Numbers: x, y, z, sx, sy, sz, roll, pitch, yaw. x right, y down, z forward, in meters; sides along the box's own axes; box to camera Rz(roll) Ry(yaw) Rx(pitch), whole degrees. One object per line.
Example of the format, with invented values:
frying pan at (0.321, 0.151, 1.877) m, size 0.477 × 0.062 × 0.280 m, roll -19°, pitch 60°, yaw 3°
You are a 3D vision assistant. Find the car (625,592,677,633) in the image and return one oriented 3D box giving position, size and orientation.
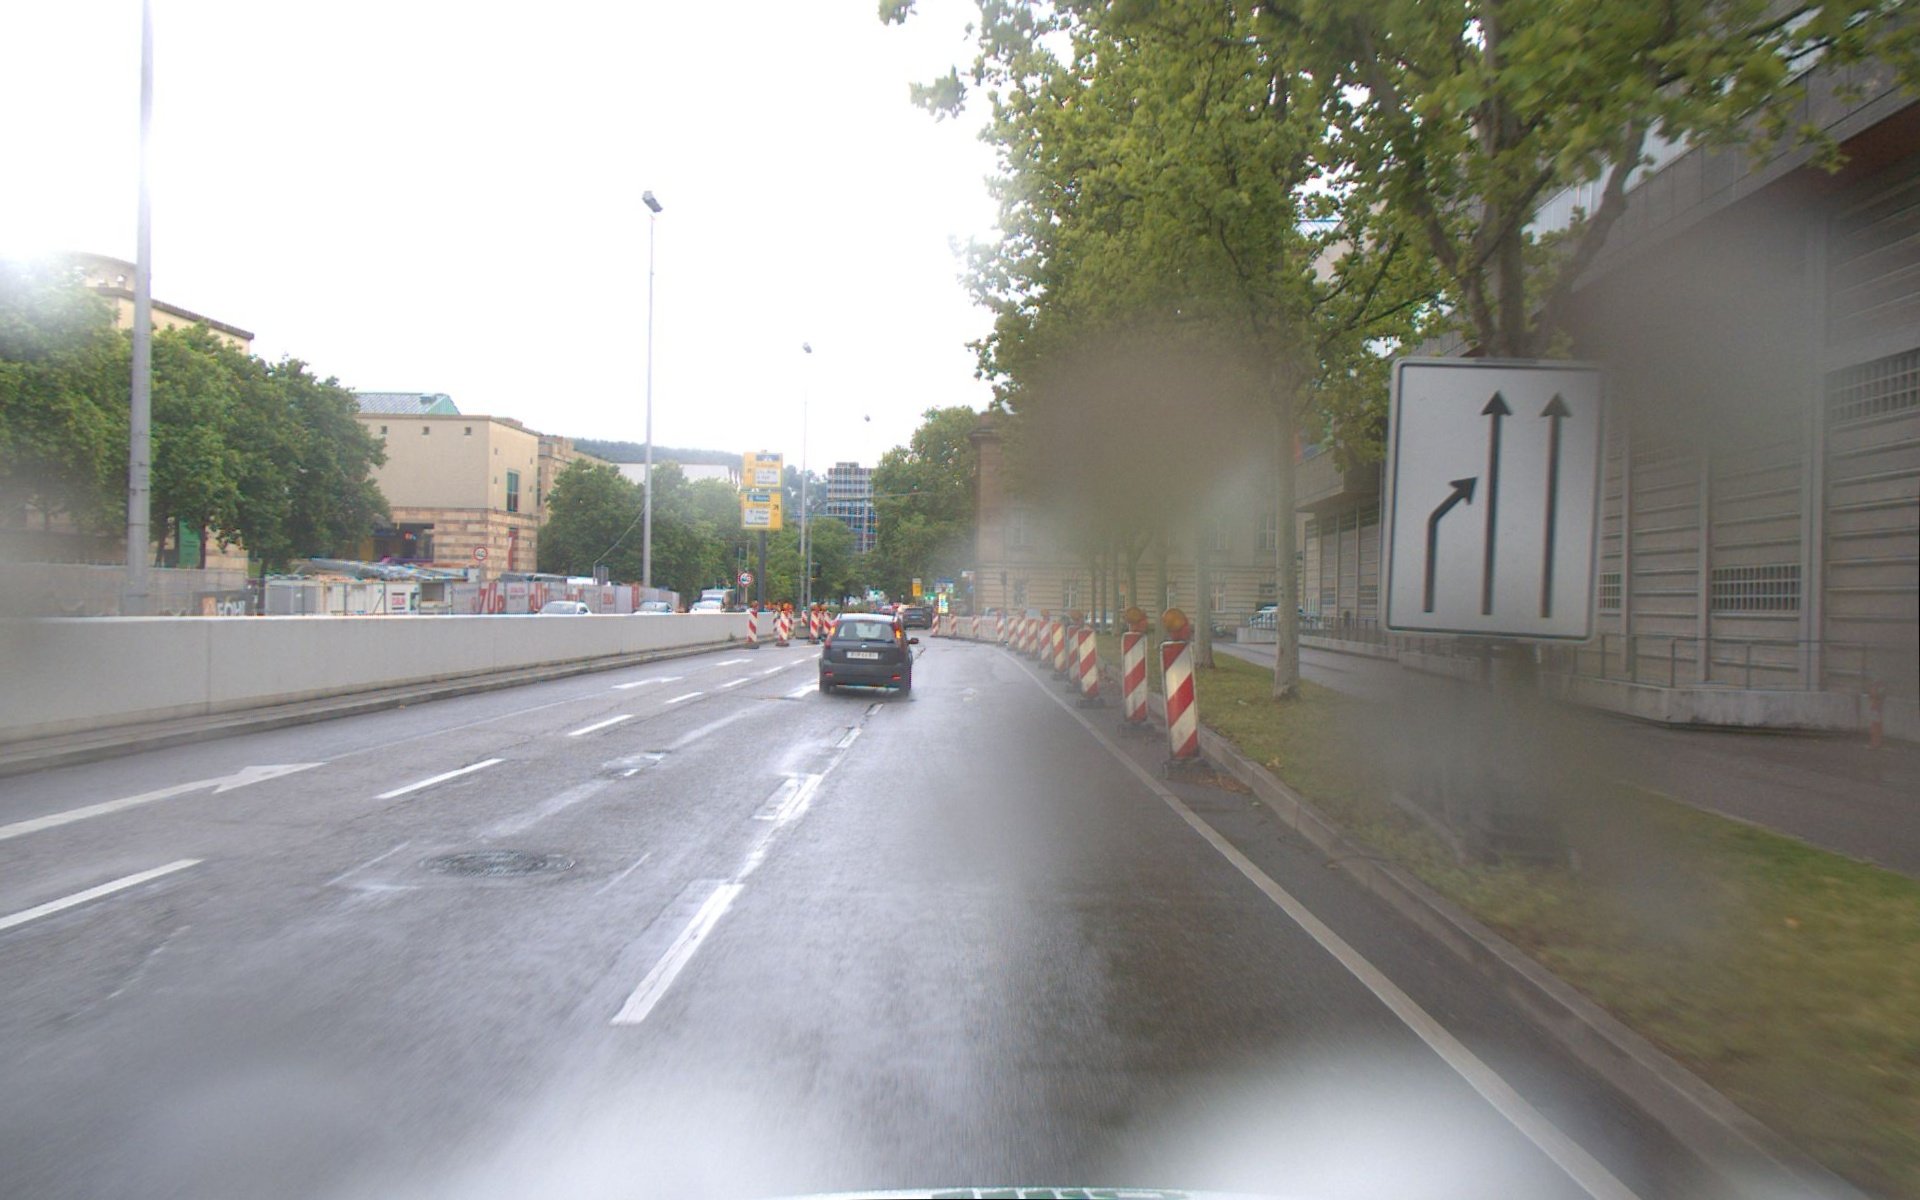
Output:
car at (-16.256, 0.642, 87.197) m, size 1.953 × 2.049 × 4.000 m, roll 3°, pitch 0°, yaw 0°

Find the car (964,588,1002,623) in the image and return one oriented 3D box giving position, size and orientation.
car at (1.217, 0.302, 89.479) m, size 1.953 × 1.738 × 4.000 m, roll 2°, pitch 1°, yaw 0°

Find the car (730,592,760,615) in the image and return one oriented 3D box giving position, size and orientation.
car at (-15.396, 0.266, 118.671) m, size 1.634 × 1.548 × 3.999 m, roll 3°, pitch -1°, yaw -1°

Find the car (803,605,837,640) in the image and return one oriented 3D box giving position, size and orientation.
car at (-5.823, 0.924, 68.874) m, size 1.358 × 1.411 × 3.064 m, roll 0°, pitch -1°, yaw -4°

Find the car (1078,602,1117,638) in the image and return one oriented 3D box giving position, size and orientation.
car at (7.381, 1.058, 88.889) m, size 1.952 × 1.738 × 4.003 m, roll 2°, pitch 1°, yaw 5°

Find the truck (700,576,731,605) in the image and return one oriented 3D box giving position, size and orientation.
truck at (-22.087, -0.841, 149.548) m, size 2.366 × 2.380 × 5.438 m, roll 3°, pitch -2°, yaw -5°

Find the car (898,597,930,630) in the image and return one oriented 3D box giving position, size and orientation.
car at (-3.125, 0.909, 112.927) m, size 1.953 × 2.048 × 4.000 m, roll 2°, pitch 1°, yaw 0°

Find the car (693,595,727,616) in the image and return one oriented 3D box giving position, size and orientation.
car at (-15.631, 0.331, 103.385) m, size 1.593 × 1.216 × 3.405 m, roll 3°, pitch 0°, yaw 0°

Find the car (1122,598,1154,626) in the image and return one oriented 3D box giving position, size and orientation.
car at (11.795, 0.796, 109.942) m, size 1.952 × 1.738 × 4.002 m, roll 2°, pitch -1°, yaw 5°

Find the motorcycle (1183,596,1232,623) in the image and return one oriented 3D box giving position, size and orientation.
motorcycle at (16.122, 0.635, 107.805) m, size 3.095 × 1.570 × 0.890 m, roll 3°, pitch -2°, yaw 4°

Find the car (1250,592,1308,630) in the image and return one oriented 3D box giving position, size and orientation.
car at (15.744, 0.584, 81.875) m, size 1.952 × 1.791 × 5.096 m, roll 1°, pitch -1°, yaw 1°

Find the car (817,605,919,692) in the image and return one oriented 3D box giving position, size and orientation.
car at (-1.639, 0.853, 30.539) m, size 1.636 × 1.452 × 3.757 m, roll 2°, pitch 0°, yaw 0°

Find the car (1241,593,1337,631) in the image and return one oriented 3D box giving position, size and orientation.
car at (14.685, 0.539, 73.929) m, size 3.905 × 1.587 × 1.933 m, roll 0°, pitch -3°, yaw 0°

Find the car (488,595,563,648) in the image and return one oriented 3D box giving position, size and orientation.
car at (-17.730, 0.873, 67.681) m, size 1.953 × 2.049 × 3.999 m, roll 2°, pitch 0°, yaw 0°

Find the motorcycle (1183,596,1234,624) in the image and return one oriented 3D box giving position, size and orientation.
motorcycle at (16.048, 0.645, 106.778) m, size 3.095 × 1.570 × 0.890 m, roll 3°, pitch -2°, yaw 3°

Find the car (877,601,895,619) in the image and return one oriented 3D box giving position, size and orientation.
car at (-9.285, 1.283, 207.007) m, size 1.955 × 2.049 × 3.996 m, roll 3°, pitch -2°, yaw -5°
